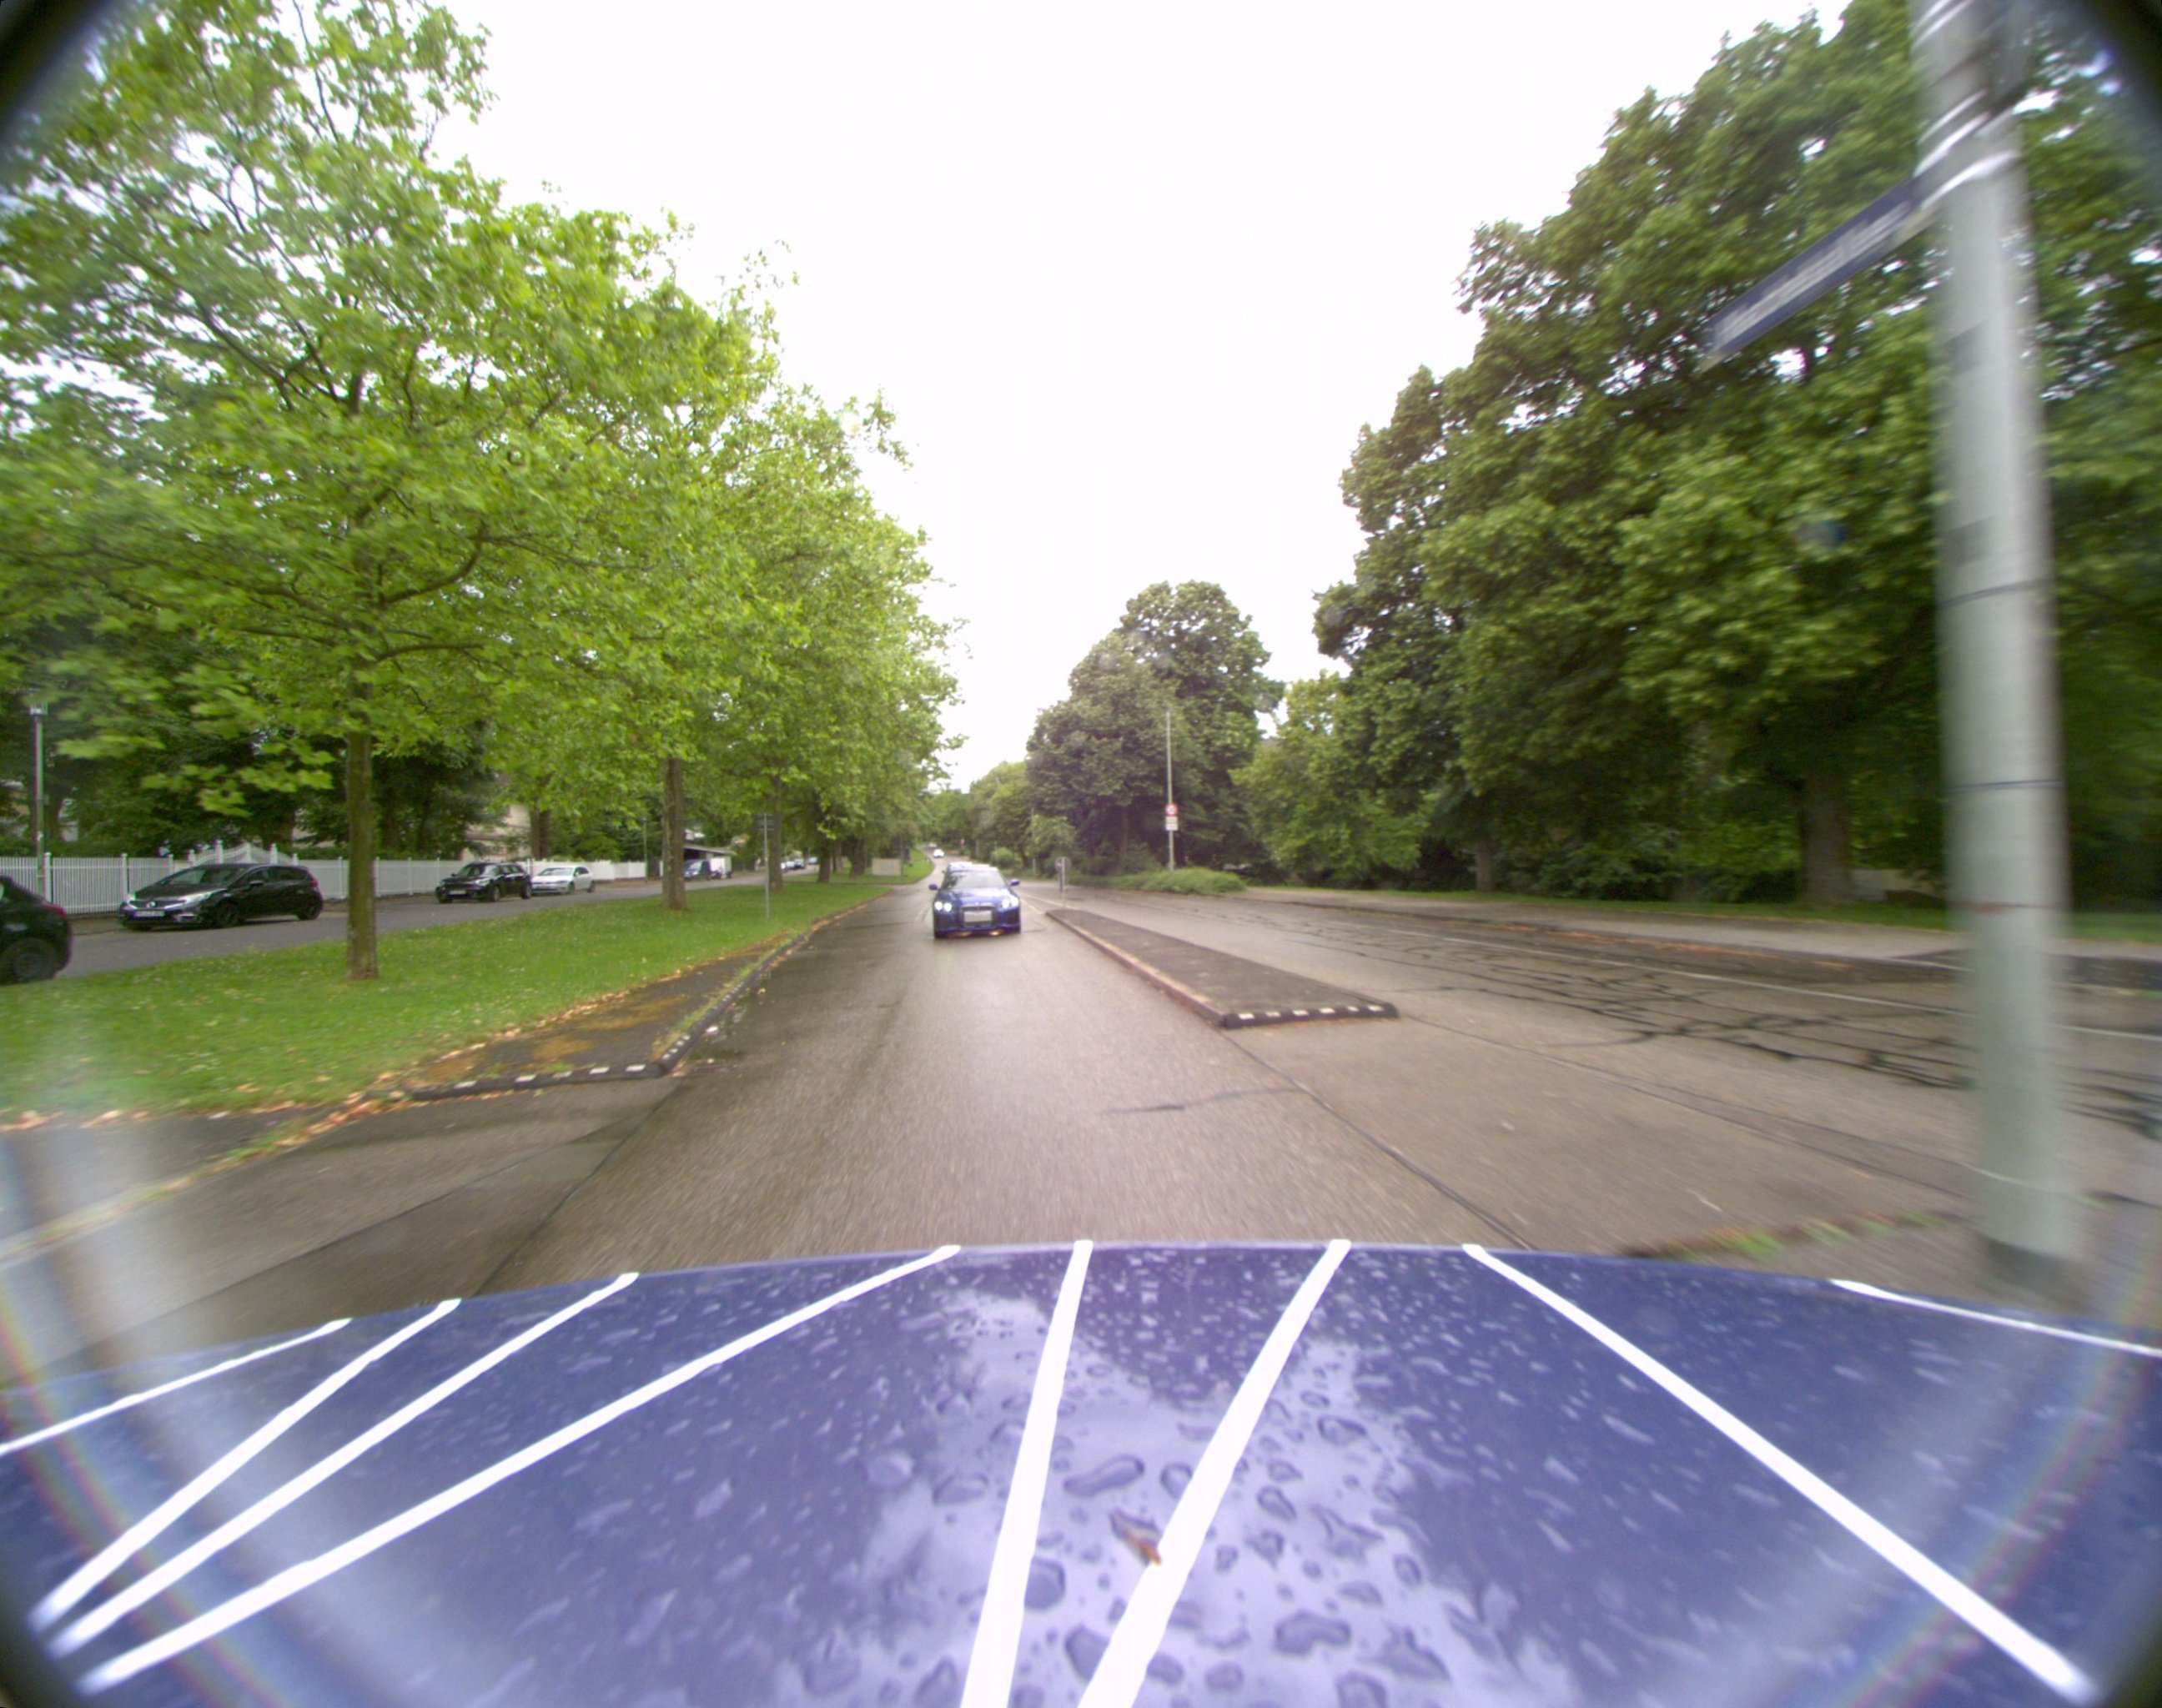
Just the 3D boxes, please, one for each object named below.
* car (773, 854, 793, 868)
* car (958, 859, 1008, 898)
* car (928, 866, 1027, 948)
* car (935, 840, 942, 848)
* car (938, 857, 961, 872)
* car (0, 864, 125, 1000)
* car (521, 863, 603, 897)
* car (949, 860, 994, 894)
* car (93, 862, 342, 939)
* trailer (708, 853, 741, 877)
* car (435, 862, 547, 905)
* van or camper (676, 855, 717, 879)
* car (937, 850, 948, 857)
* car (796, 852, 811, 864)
[{"bbox_3d":[-44.337,0.988,113.156,2.000,2.002,3.996,-1,0,-11],"label":"car"},{"bbox_3d":[-4.377,1.030,33.449,1.827,1.471,4.063,-3,1,-11],"label":"car"},{"bbox_3d":[-2.461,1.081,17.248,1.827,1.471,4.063,-3,1,-12],"label":"car"},{"bbox_3d":[-39.122,-2.773,208.640,2.000,2.002,4.569,0,0,-11],"label":"car"},{"bbox_3d":[-13.946,1.078,80.859,1.826,1.471,4.066,-3,1,-3],"label":"car"},{"bbox_3d":[-12.454,0.860,7.132,1.770,1.462,4.593,0,0,-11],"label":"car"},{"bbox_3d":[-25.695,1.224,37.800,2.001,1.440,4.119,-3,1,-14],"label":"car"},{"bbox_3d":[-5.673,1.134,38.998,2.033,1.471,4.063,-3,1,-11],"label":"car"},{"bbox_3d":[-20.825,1.021,18.666,1.766,1.463,4.351,-5,1,-14],"label":"car"},{"bbox_3d":[-33.975,1.043,72.526,1.773,2.104,5.187,-3,1,-13],"label":"trailer"},{"bbox_3d":[-23.696,1.149,30.735,2.001,1.462,4.119,-3,1,-14],"label":"car"},{"bbox_3d":[-31.845,1.048,63.083,2.001,1.798,4.769,-3,1,-15],"label":"van or camper"},{"bbox_3d":[-29.600,-0.073,162.288,1.826,1.471,4.065,-3,1,-6],"label":"car"},{"bbox_3d":[-50.032,0.686,136.885,2.001,2.002,3.995,-1,0,-13],"label":"car"}]
